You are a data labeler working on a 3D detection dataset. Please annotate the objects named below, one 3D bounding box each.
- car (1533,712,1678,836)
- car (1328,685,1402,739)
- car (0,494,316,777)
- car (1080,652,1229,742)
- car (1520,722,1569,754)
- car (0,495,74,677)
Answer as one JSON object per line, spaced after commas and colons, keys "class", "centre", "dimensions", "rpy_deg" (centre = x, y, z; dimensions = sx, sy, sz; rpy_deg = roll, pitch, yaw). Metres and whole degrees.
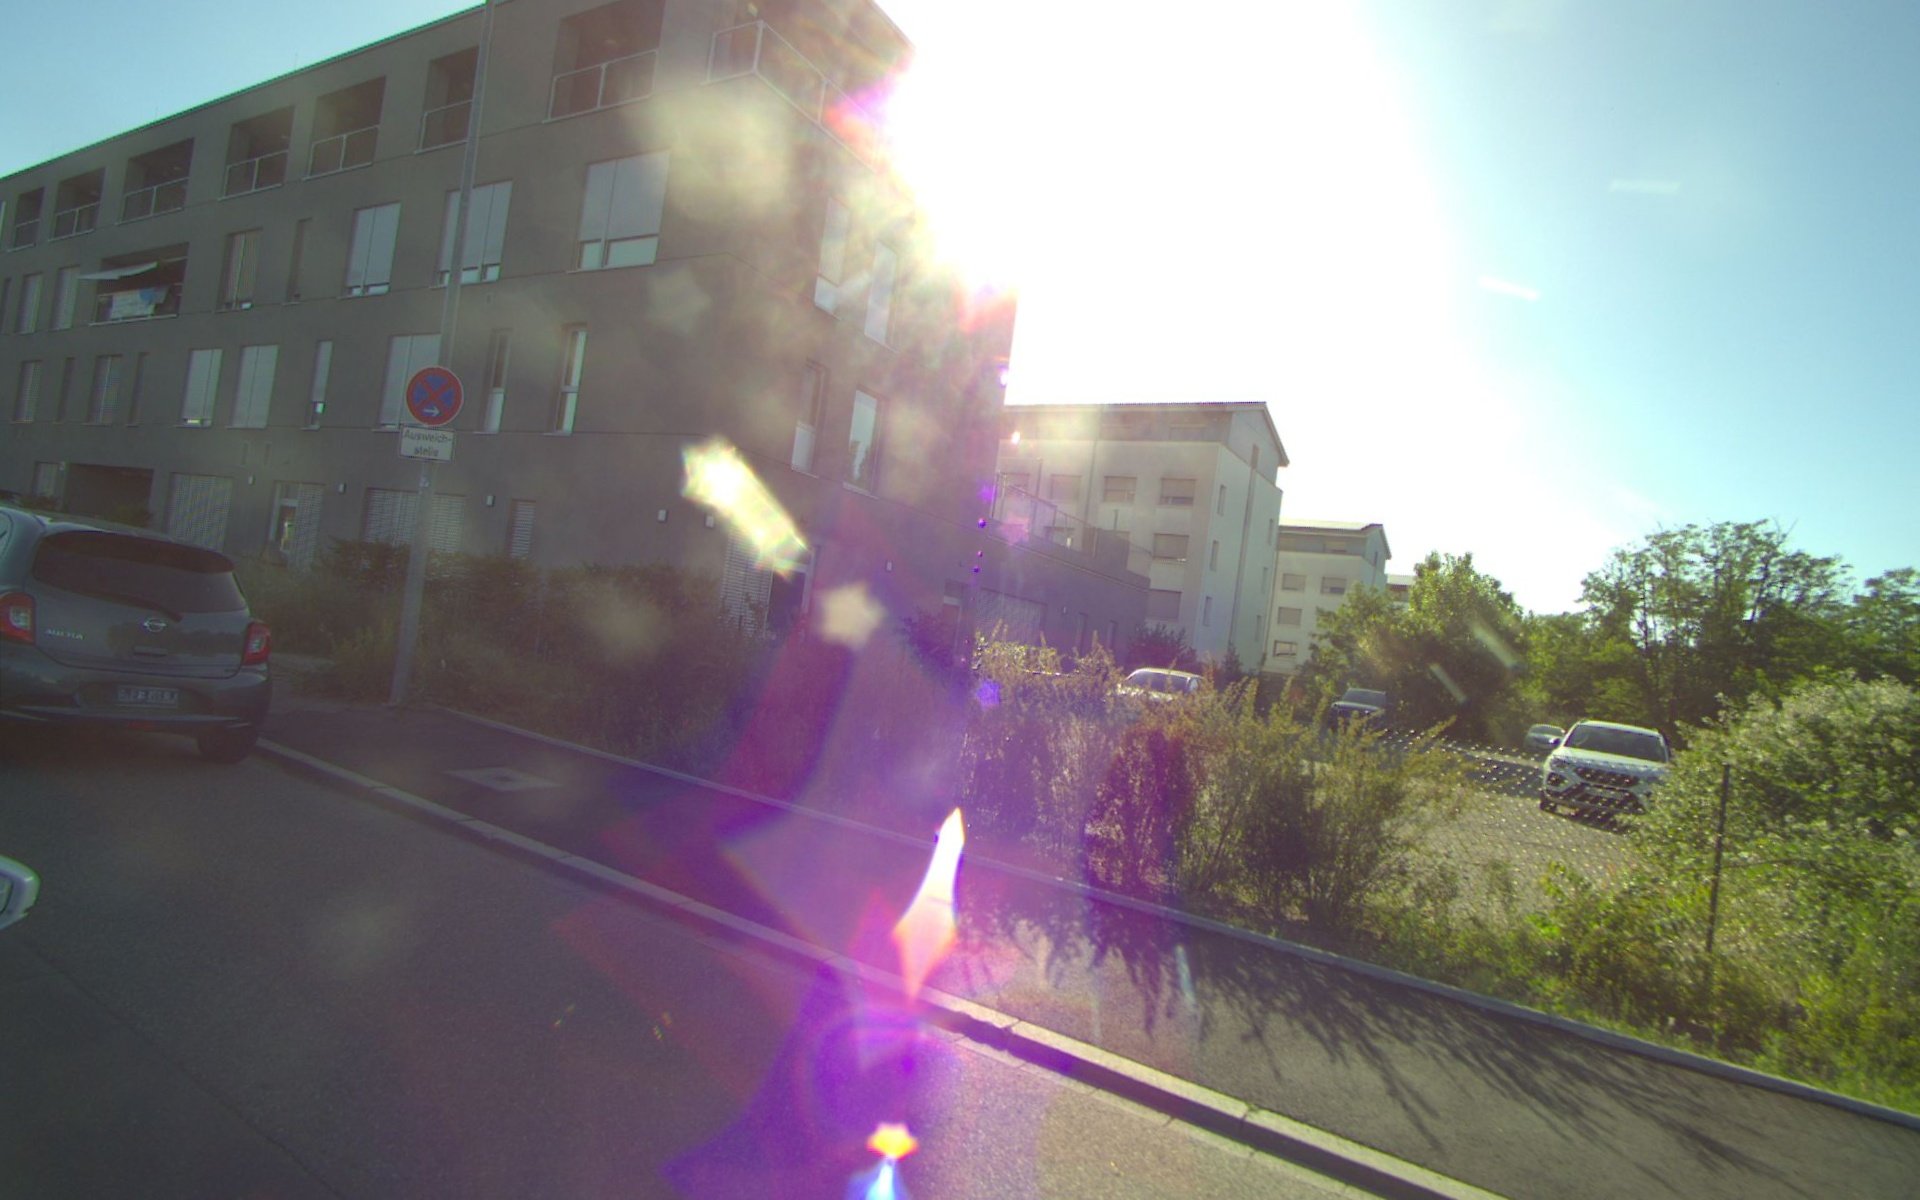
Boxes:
{"class": "car", "centre": [11.023, 2.870, 17.194], "dimensions": [1.727, 1.606, 3.912], "rpy_deg": [7, -2, 34]}
{"class": "car", "centre": [14.204, 3.884, 35.156], "dimensions": [1.616, 1.558, 3.895], "rpy_deg": [7, -2, 32]}
{"class": "car", "centre": [-6.543, 0.126, 7.204], "dimensions": [3.838, 1.542, 1.628], "rpy_deg": [7, -5, 33]}
{"class": "car", "centre": [4.355, 2.148, 21.998], "dimensions": [1.855, 1.543, 4.128], "rpy_deg": [7, -3, 29]}
{"class": "car", "centre": [26.877, 6.299, 46.185], "dimensions": [1.661, 1.100, 3.882], "rpy_deg": [6, -2, 33]}
{"class": "car", "centre": [-10.720, -0.405, 9.879], "dimensions": [4.109, 1.624, 1.682], "rpy_deg": [7, -5, 31]}
